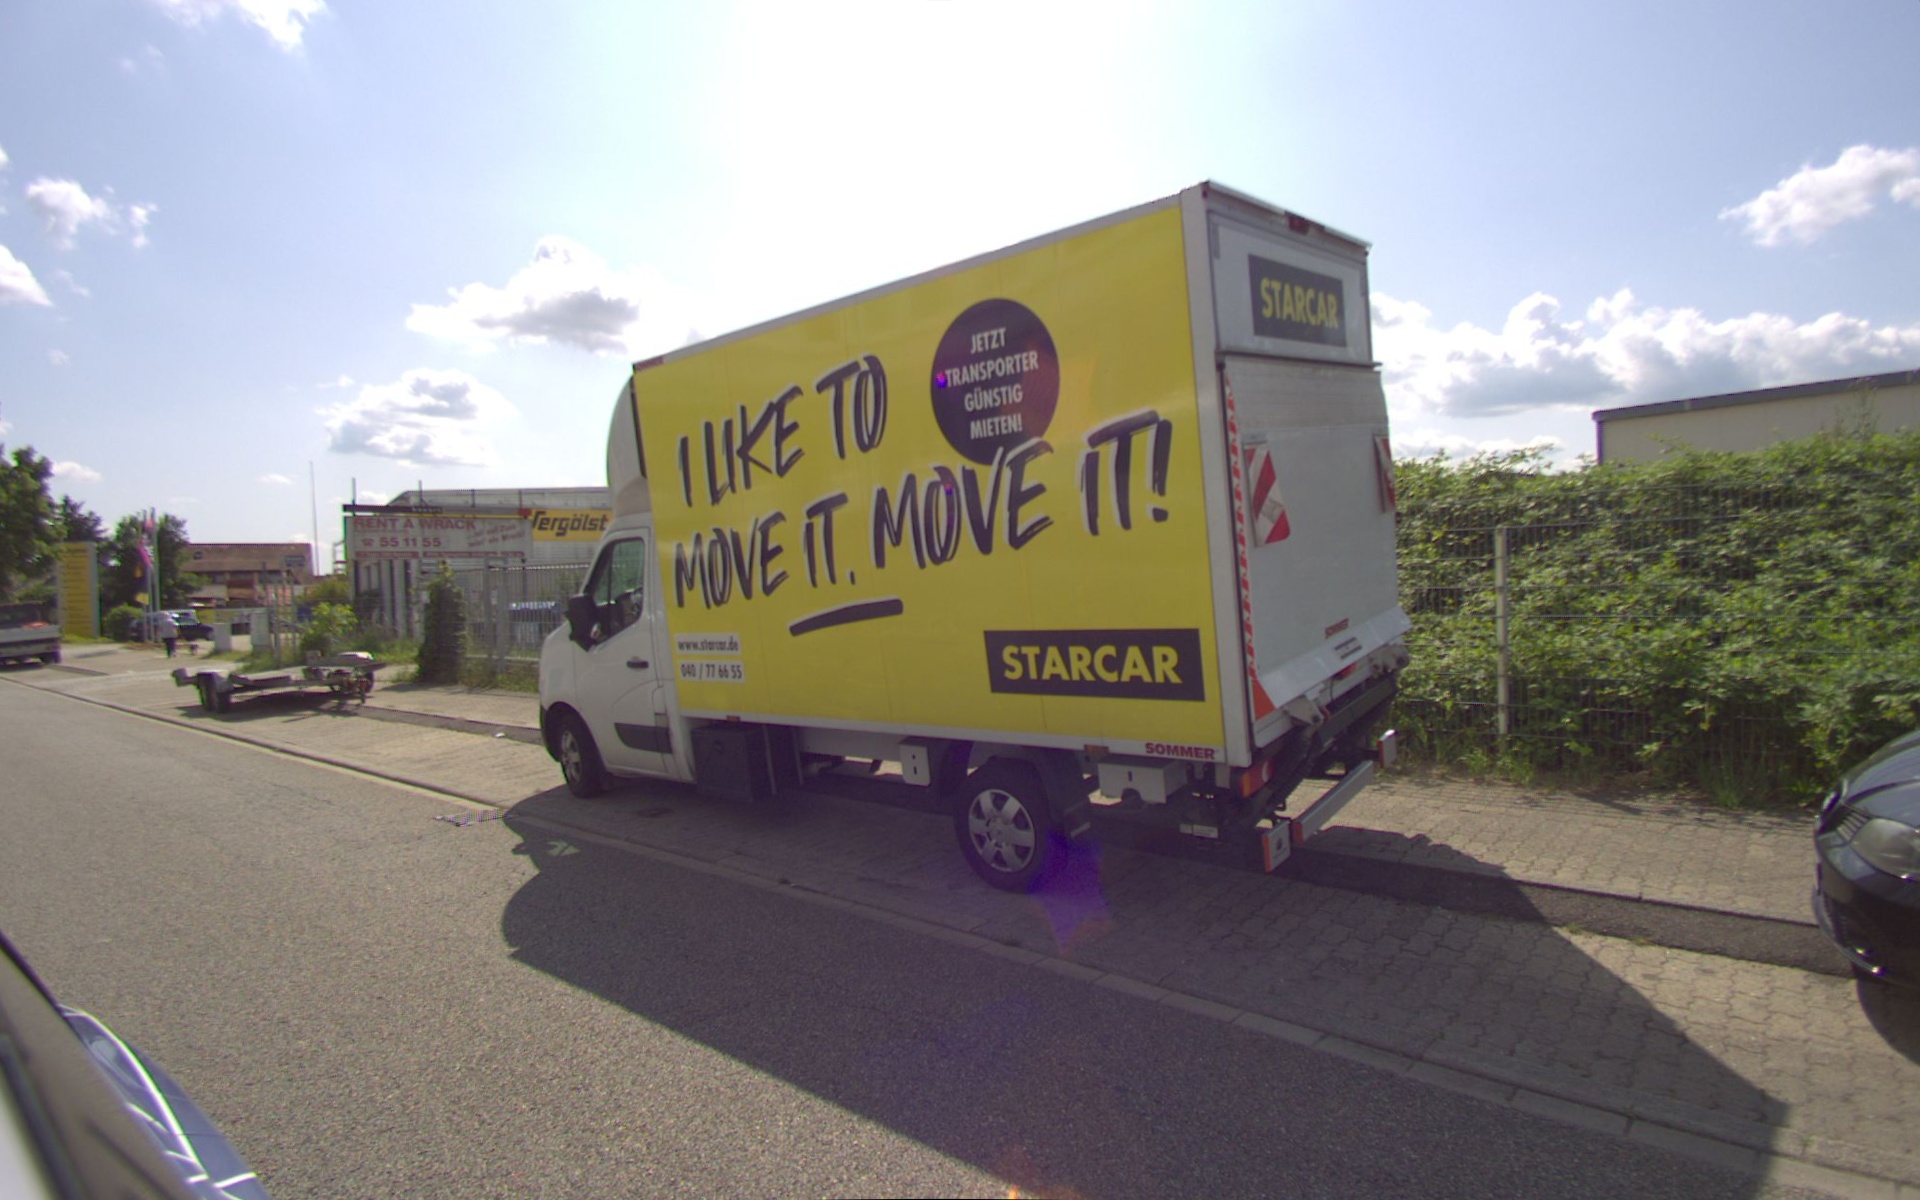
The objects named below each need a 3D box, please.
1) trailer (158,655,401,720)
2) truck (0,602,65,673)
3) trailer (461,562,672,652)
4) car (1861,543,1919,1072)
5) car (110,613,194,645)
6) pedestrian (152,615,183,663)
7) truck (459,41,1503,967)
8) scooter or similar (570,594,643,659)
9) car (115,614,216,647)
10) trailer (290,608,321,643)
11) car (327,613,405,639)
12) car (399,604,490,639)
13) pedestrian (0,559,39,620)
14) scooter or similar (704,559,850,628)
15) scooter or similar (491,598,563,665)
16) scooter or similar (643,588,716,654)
[{"bbox_3d":[-11.504,1.396,17.011,4.441,0.556,2.214,-2,5,40],"label":"trailer"},{"bbox_3d":[-34.144,1.340,36.476,7.350,2.255,2.105,-2,3,44],"label":"truck"},{"bbox_3d":[-13.963,0.180,36.181,6.433,2.873,2.764,-2,1,-38],"label":"trailer"},{"bbox_3d":[4.718,0.563,2.375,3.825,1.439,1.603,-1,7,41],"label":"car"},{"bbox_3d":[-50.741,1.800,63.602,4.035,1.726,1.682,-2,1,-41],"label":"car"},{"bbox_3d":[-26.995,1.324,34.455,0.918,1.557,0.653,-2,0,42],"label":"pedestrian"},{"bbox_3d":[-0.514,-0.336,6.791,6.901,3.385,2.229,-2,5,40],"label":"truck"},{"bbox_3d":[-8.931,0.656,25.629,1.428,1.549,1.171,-2,0,-3],"label":"scooter or similar"},{"bbox_3d":[-42.175,1.603,53.828,1.845,1.424,3.822,-2,2,18],"label":"car"},{"bbox_3d":[-33.935,1.297,52.475,1.249,1.704,2.978,-3,2,-32],"label":"trailer"},{"bbox_3d":[-38.396,1.633,65.425,4.213,1.494,1.674,-2,1,-35],"label":"car"},{"bbox_3d":[-24.103,0.978,47.321,3.525,1.447,1.794,-2,1,-37],"label":"car"},{"bbox_3d":[-34.049,-0.322,35.637,3.999,2.028,1.972,-1,2,42],"label":"pedestrian"},{"bbox_3d":[-7.383,-0.296,40.974,5.391,2.574,2.006,-2,0,-29],"label":"scooter or similar"},{"bbox_3d":[-10.887,0.768,25.494,1.300,1.598,1.171,-2,0,-3],"label":"scooter or similar"},{"bbox_3d":[-7.253,0.532,26.205,1.563,1.598,1.171,-2,0,-3],"label":"scooter or similar"}]
